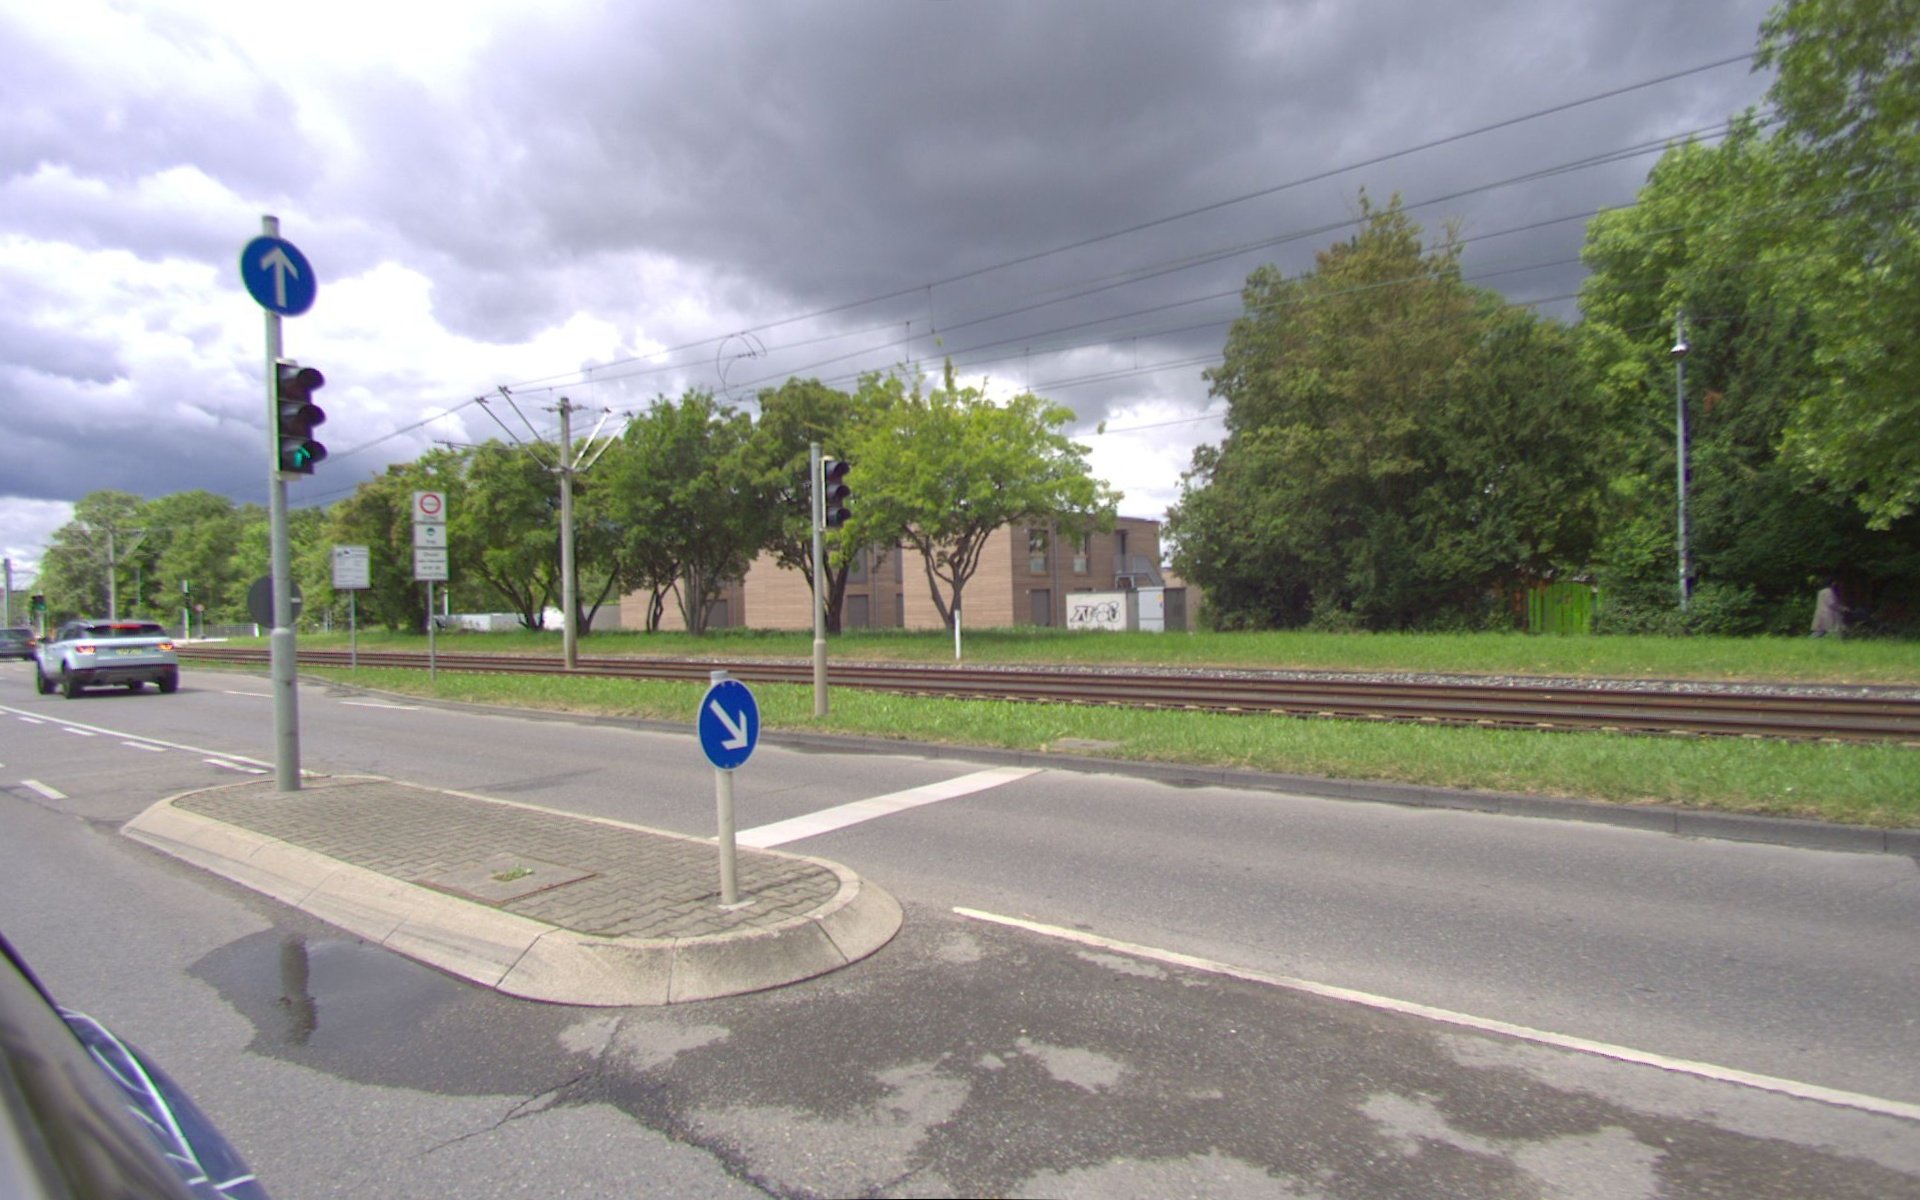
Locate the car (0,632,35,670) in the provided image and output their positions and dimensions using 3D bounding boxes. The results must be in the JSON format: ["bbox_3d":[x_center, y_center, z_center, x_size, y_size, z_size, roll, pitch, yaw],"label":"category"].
[{"bbox_3d":[-45.755,2.424,48.221,4.520,1.672,1.973,-1,1,41],"label":"car"}]

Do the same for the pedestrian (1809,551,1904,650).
[{"bbox_3d":[18.410,0.014,20.823,1.362,1.948,1.024,-2,0,39],"label":"pedestrian"}]

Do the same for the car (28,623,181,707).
[{"bbox_3d":[-18.965,1.346,22.366,4.604,1.622,1.841,-1,-1,40],"label":"car"}]
